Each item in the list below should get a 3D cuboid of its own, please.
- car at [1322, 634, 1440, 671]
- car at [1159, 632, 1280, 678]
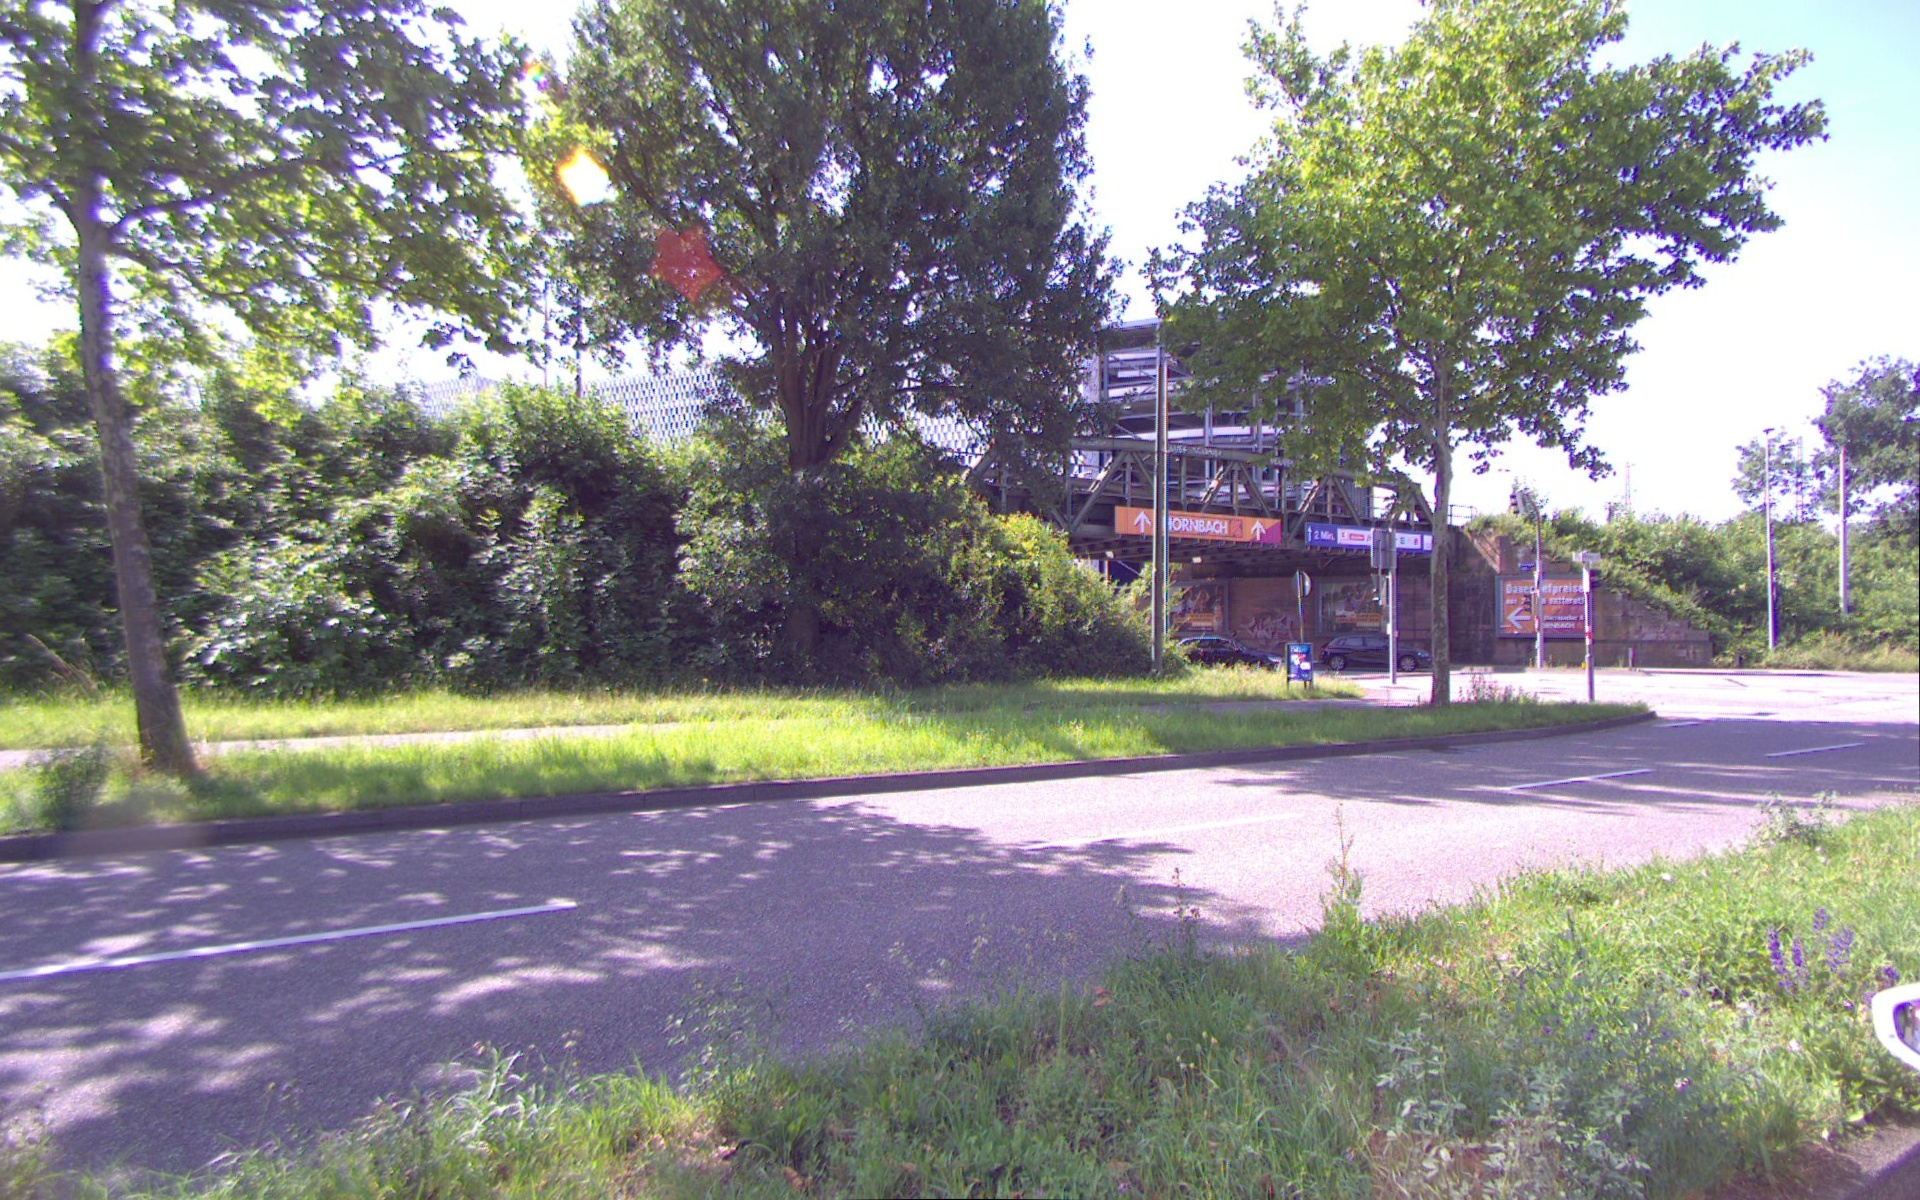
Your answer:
[{"bbox_3d":[16.887,2.090,40.355,4.253,1.413,1.770,-1,-2,24],"label":"car"},{"bbox_3d":[9.170,1.907,35.509,3.869,1.500,1.822,1,-1,25],"label":"car"}]
